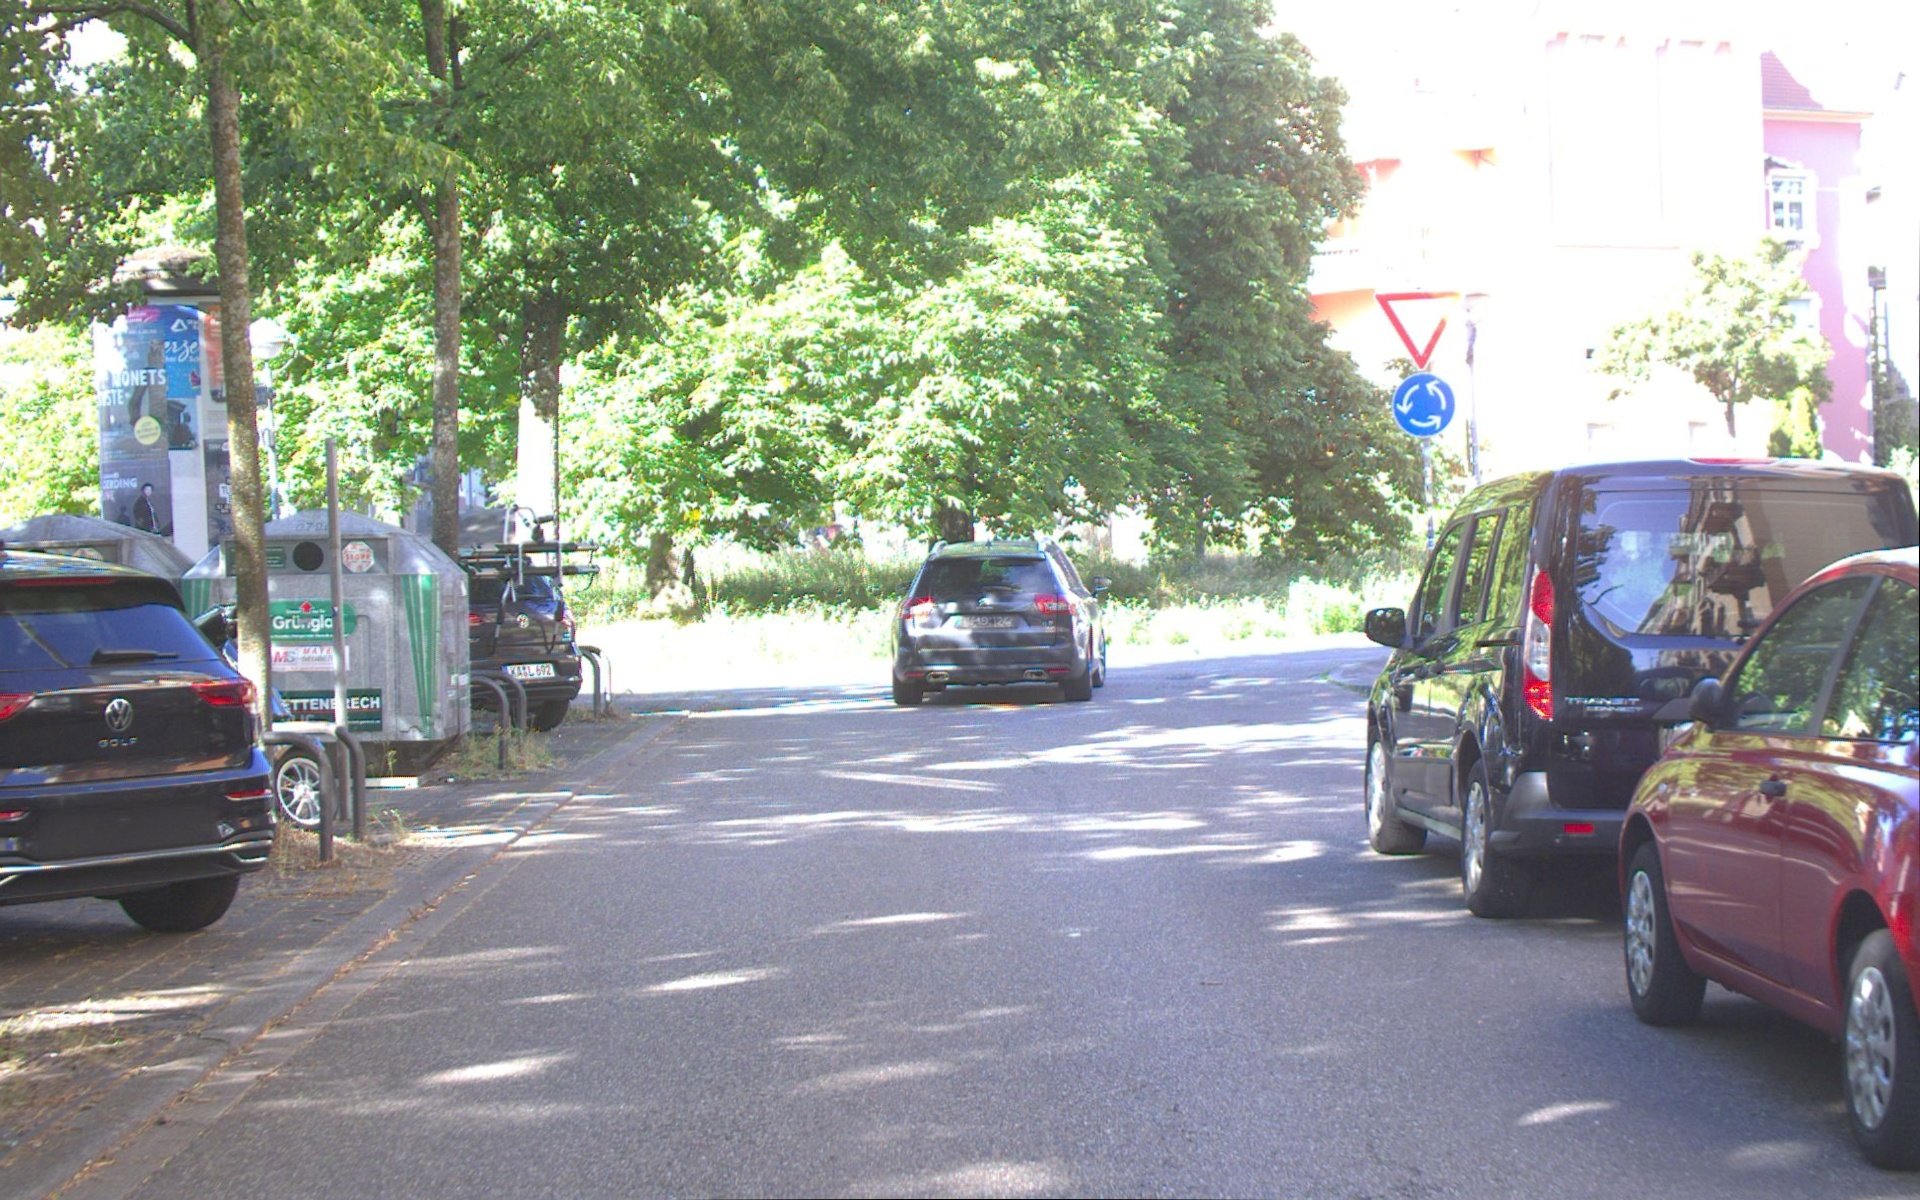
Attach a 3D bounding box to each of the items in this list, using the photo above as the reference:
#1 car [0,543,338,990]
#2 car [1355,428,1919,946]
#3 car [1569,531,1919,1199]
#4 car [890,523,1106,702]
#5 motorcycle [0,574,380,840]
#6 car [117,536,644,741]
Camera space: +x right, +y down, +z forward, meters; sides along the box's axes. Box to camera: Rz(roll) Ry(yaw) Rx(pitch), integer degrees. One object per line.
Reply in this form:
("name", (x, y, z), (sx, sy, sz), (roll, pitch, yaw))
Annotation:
("car", (-4.395, 0.526, 12.920), (4.098, 1.461, 1.862), (1, 1, 40))
("car", (2.900, 0.279, 14.764), (1.801, 1.864, 4.273), (1, 1, -1))
("car", (2.941, 0.594, 9.678), (1.645, 1.532, 4.000), (1, 1, -1))
("car", (0.418, 0.066, 32.403), (1.714, 1.478, 4.144), (-3, 1, 4))
("motorcycle", (-3.787, 0.503, 16.292), (1.939, 1.167, 0.518), (-2, 1, 1))
("car", (-4.577, 0.288, 26.872), (4.138, 1.476, 1.772), (-1, 0, 40))
